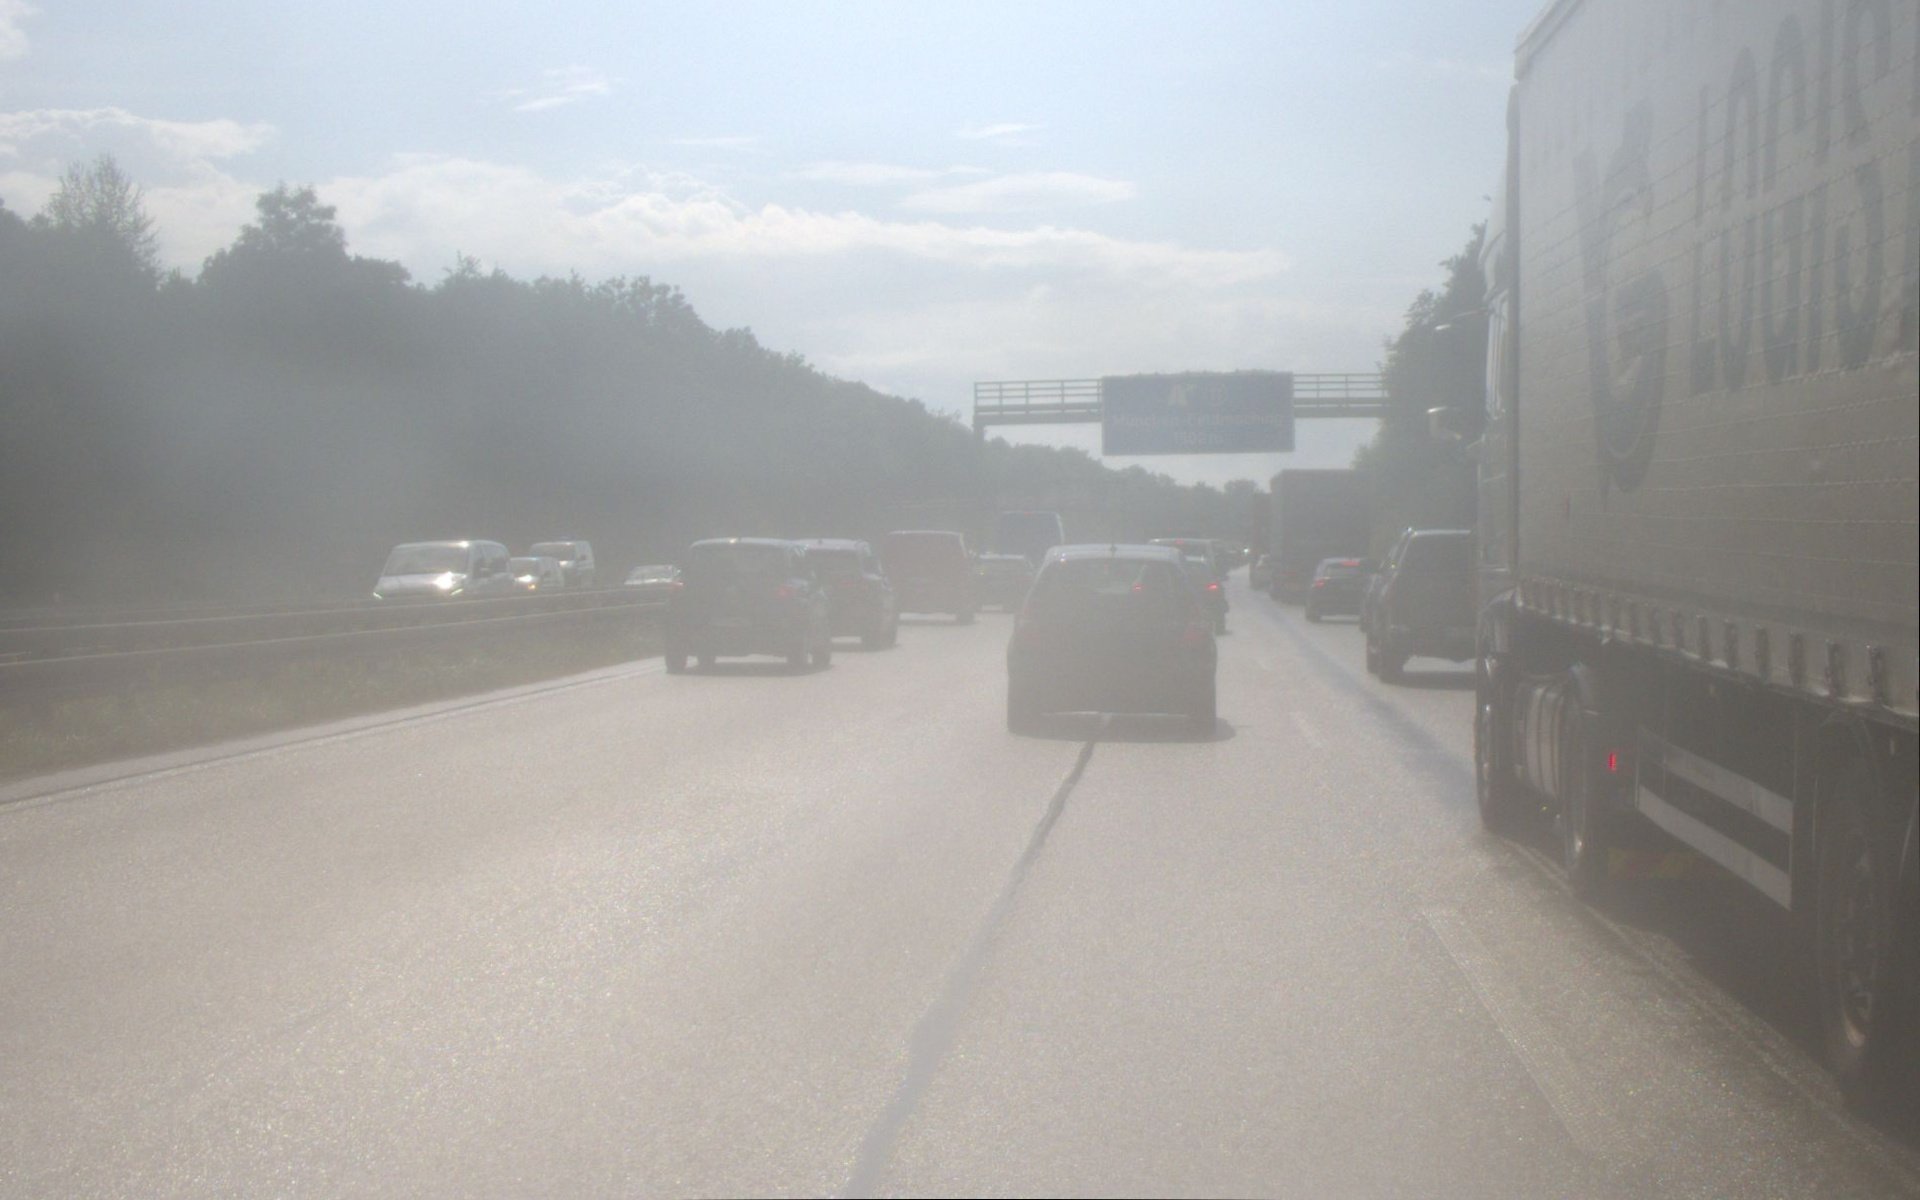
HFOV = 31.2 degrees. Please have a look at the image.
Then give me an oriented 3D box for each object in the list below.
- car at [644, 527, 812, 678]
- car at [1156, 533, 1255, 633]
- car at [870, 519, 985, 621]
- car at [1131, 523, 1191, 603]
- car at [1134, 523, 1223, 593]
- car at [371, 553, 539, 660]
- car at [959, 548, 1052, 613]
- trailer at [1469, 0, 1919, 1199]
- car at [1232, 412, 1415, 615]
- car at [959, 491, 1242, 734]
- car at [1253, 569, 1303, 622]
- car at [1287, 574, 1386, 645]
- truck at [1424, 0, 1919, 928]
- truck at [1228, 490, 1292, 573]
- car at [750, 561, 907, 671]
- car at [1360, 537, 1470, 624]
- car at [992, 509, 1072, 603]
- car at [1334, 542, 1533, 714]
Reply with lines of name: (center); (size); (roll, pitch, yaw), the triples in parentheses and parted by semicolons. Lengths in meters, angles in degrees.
car: (-2.893, 0.016, 43.652); (1.692, 1.798, 3.976); (1, 0, 2)
car: (4.591, -0.322, 64.695); (1.692, 1.798, 3.976); (1, 0, 2)
car: (-0.648, -0.629, 72.918); (1.979, 2.047, 4.755); (1, 0, 5)
car: (7.202, -1.303, 122.640); (1.994, 2.737, 5.258); (1, 0, 5)
car: (4.944, -0.943, 78.077); (1.865, 1.511, 3.976); (1, 0, 2)
car: (-9.352, 0.103, 64.073); (2.046, 1.885, 5.259); (1, 0, 3)
car: (1.166, -0.488, 85.878); (1.994, 1.559, 4.755); (1, 0, 5)
trailer: (3.876, -0.532, 10.205); (3.284, 3.885, 14.127); (1, 1, 3)
car: (11.191, -2.553, 108.002); (4.404, 5.810, 16.817); (1, 0, 2)
car: (1.255, 0.090, 30.500); (2.274, 1.948, 4.821); (1, 0, 3)
car: (13.207, -0.199, 142.899); (1.994, 2.108, 4.888); (1, 0, 5)
car: (8.330, 0.199, 76.303); (1.865, 1.511, 3.976); (1, 0, 2)
truck: (4.262, -0.647, 17.098); (3.284, 3.877, 6.395); (1, 1, 3)
truck: (13.458, -3.047, 154.405); (2.776, 3.619, 5.916); (1, 0, 5)
car: (-1.995, 0.235, 53.628); (1.909, 1.631, 4.616); (0, 0, 5)
car: (8.227, -0.351, 62.451); (1.591, 1.511, 3.976); (1, 0, 2)
car: (2.118, -1.255, 99.841); (1.994, 2.606, 5.258); (1, 0, 5)
car: (5.676, 0.300, 41.839); (1.942, 1.912, 5.651); (1, 0, 3)
